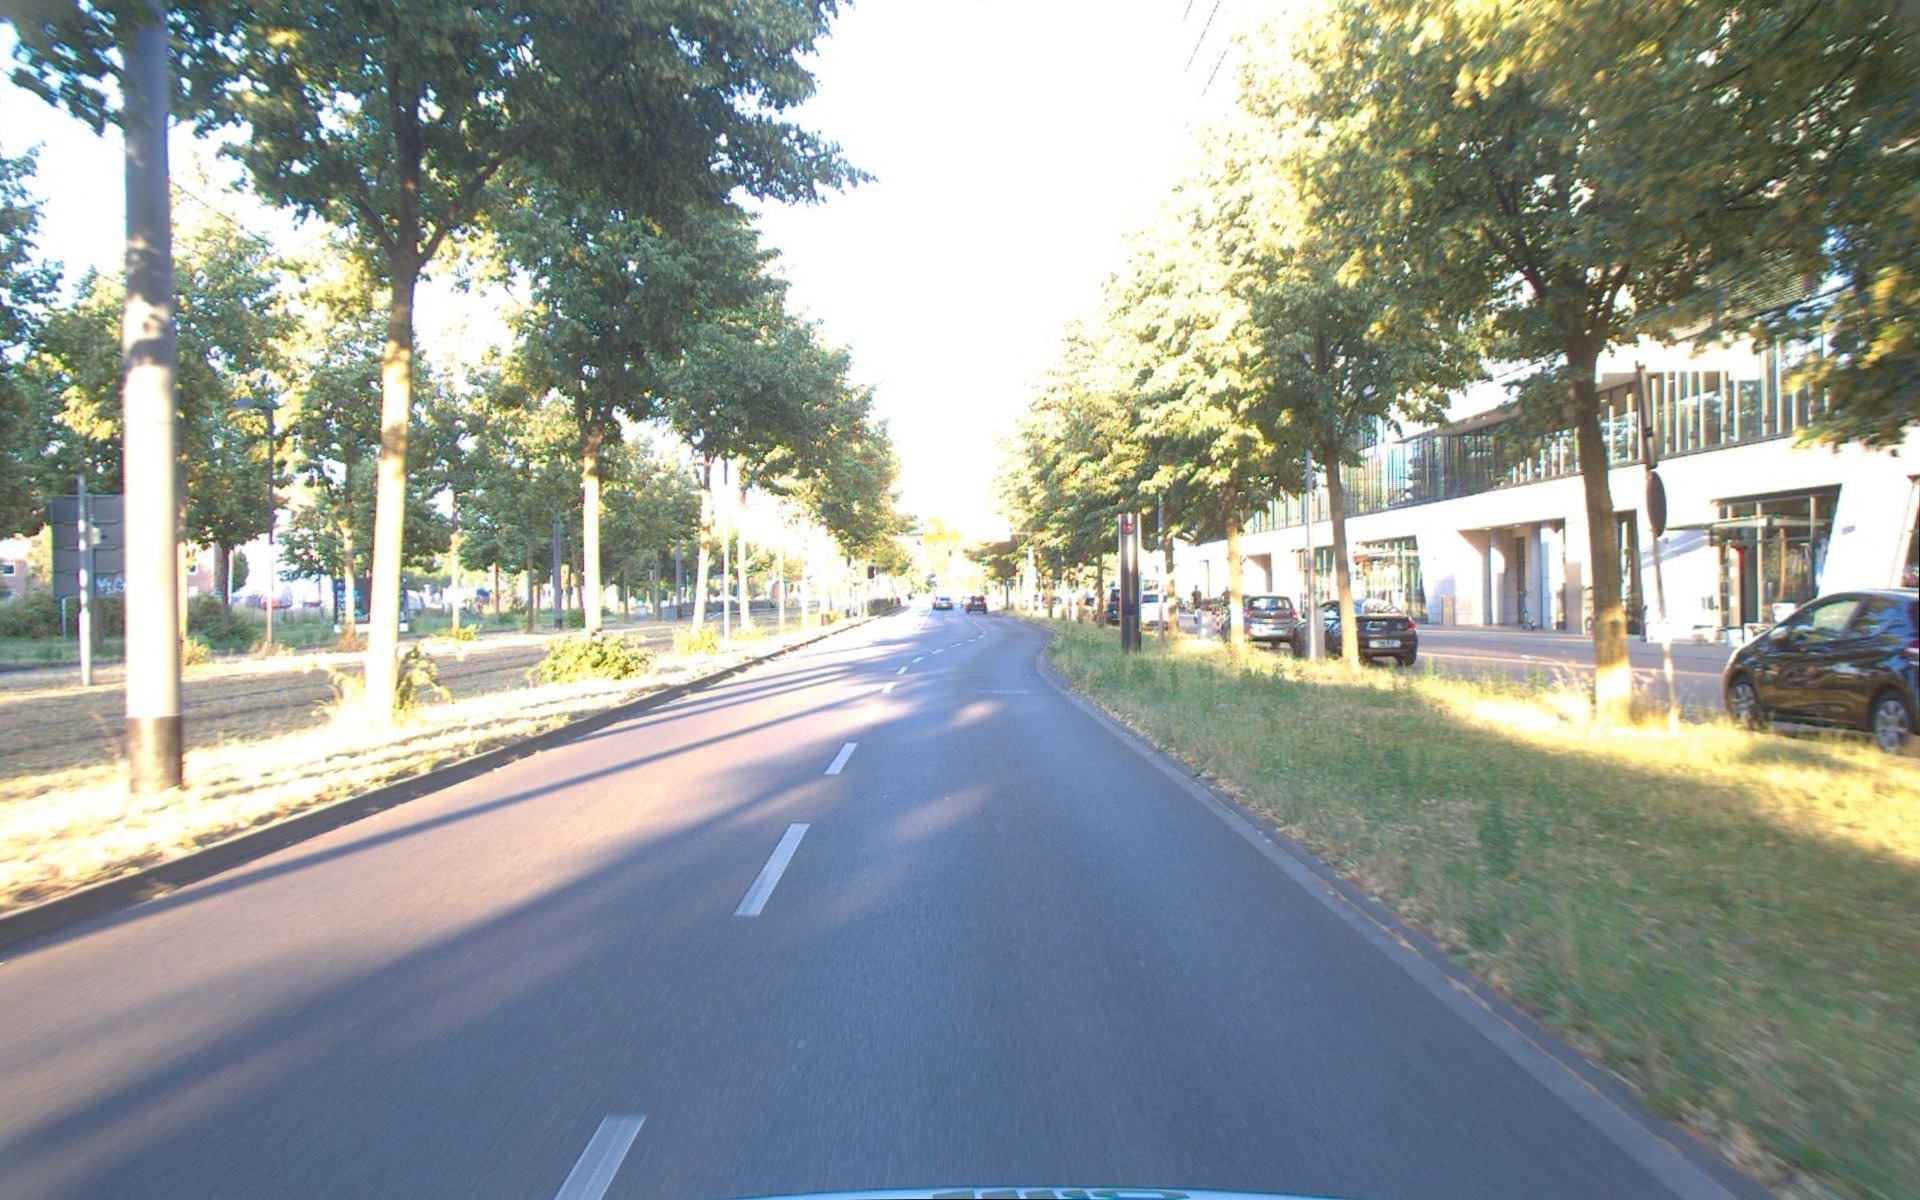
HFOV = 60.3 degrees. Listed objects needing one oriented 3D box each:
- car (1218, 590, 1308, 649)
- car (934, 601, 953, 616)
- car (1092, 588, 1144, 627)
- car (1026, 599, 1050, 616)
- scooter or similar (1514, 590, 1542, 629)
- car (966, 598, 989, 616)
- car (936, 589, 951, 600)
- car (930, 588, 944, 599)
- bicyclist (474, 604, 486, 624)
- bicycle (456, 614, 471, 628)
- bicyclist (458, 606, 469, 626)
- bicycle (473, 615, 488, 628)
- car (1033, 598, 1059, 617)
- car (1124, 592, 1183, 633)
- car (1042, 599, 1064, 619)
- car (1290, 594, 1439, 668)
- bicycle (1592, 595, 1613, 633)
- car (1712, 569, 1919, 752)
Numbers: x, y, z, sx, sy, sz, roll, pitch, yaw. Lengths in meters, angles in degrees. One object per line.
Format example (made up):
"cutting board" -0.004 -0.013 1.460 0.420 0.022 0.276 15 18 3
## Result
"car" 8.336 0.513 45.722 1.675 1.542 3.758 1 0 -2
"car" -1.699 0.904 170.716 1.873 1.512 3.999 -1 0 -2
"car" 7.898 0.359 83.040 1.954 1.884 4.663 -1 0 -3
"car" 7.119 0.688 151.013 1.722 1.491 4.156 -1 0 -3
"scooter or similar" 18.008 0.291 52.482 0.462 1.232 1.229 -1 0 0
"car" 1.527 0.611 144.972 1.873 1.512 3.999 0 0 -2
"car" -2.154 -0.711 216.100 1.873 1.512 3.999 -1 0 -2
"car" -3.250 -0.846 231.115 1.873 1.512 3.999 -1 0 -2
"bicyclist" -36.699 1.048 126.455 0.607 1.482 0.937 -1 0 -3
"bicycle" -37.831 1.605 126.029 0.607 1.029 2.082 -1 0 -3
"bicyclist" -37.848 1.230 126.015 0.607 1.482 0.937 -1 0 -3
"bicycle" -36.699 1.641 126.534 0.607 1.029 2.082 -1 0 -3
"car" 7.047 0.607 135.638 1.742 1.498 4.286 -1 0 -3
"car" 8.207 0.512 70.557 1.953 1.671 4.878 -1 0 0
"car" 7.250 0.695 129.057 1.543 1.498 3.881 -1 0 0
"car" 8.707 0.625 36.024 1.815 1.391 4.832 -3 0 -3
"bicycle" 18.056 0.390 46.497 0.444 1.045 1.392 -1 0 25
"car" 8.844 0.527 15.443 1.744 1.520 3.999 2 0 -1
